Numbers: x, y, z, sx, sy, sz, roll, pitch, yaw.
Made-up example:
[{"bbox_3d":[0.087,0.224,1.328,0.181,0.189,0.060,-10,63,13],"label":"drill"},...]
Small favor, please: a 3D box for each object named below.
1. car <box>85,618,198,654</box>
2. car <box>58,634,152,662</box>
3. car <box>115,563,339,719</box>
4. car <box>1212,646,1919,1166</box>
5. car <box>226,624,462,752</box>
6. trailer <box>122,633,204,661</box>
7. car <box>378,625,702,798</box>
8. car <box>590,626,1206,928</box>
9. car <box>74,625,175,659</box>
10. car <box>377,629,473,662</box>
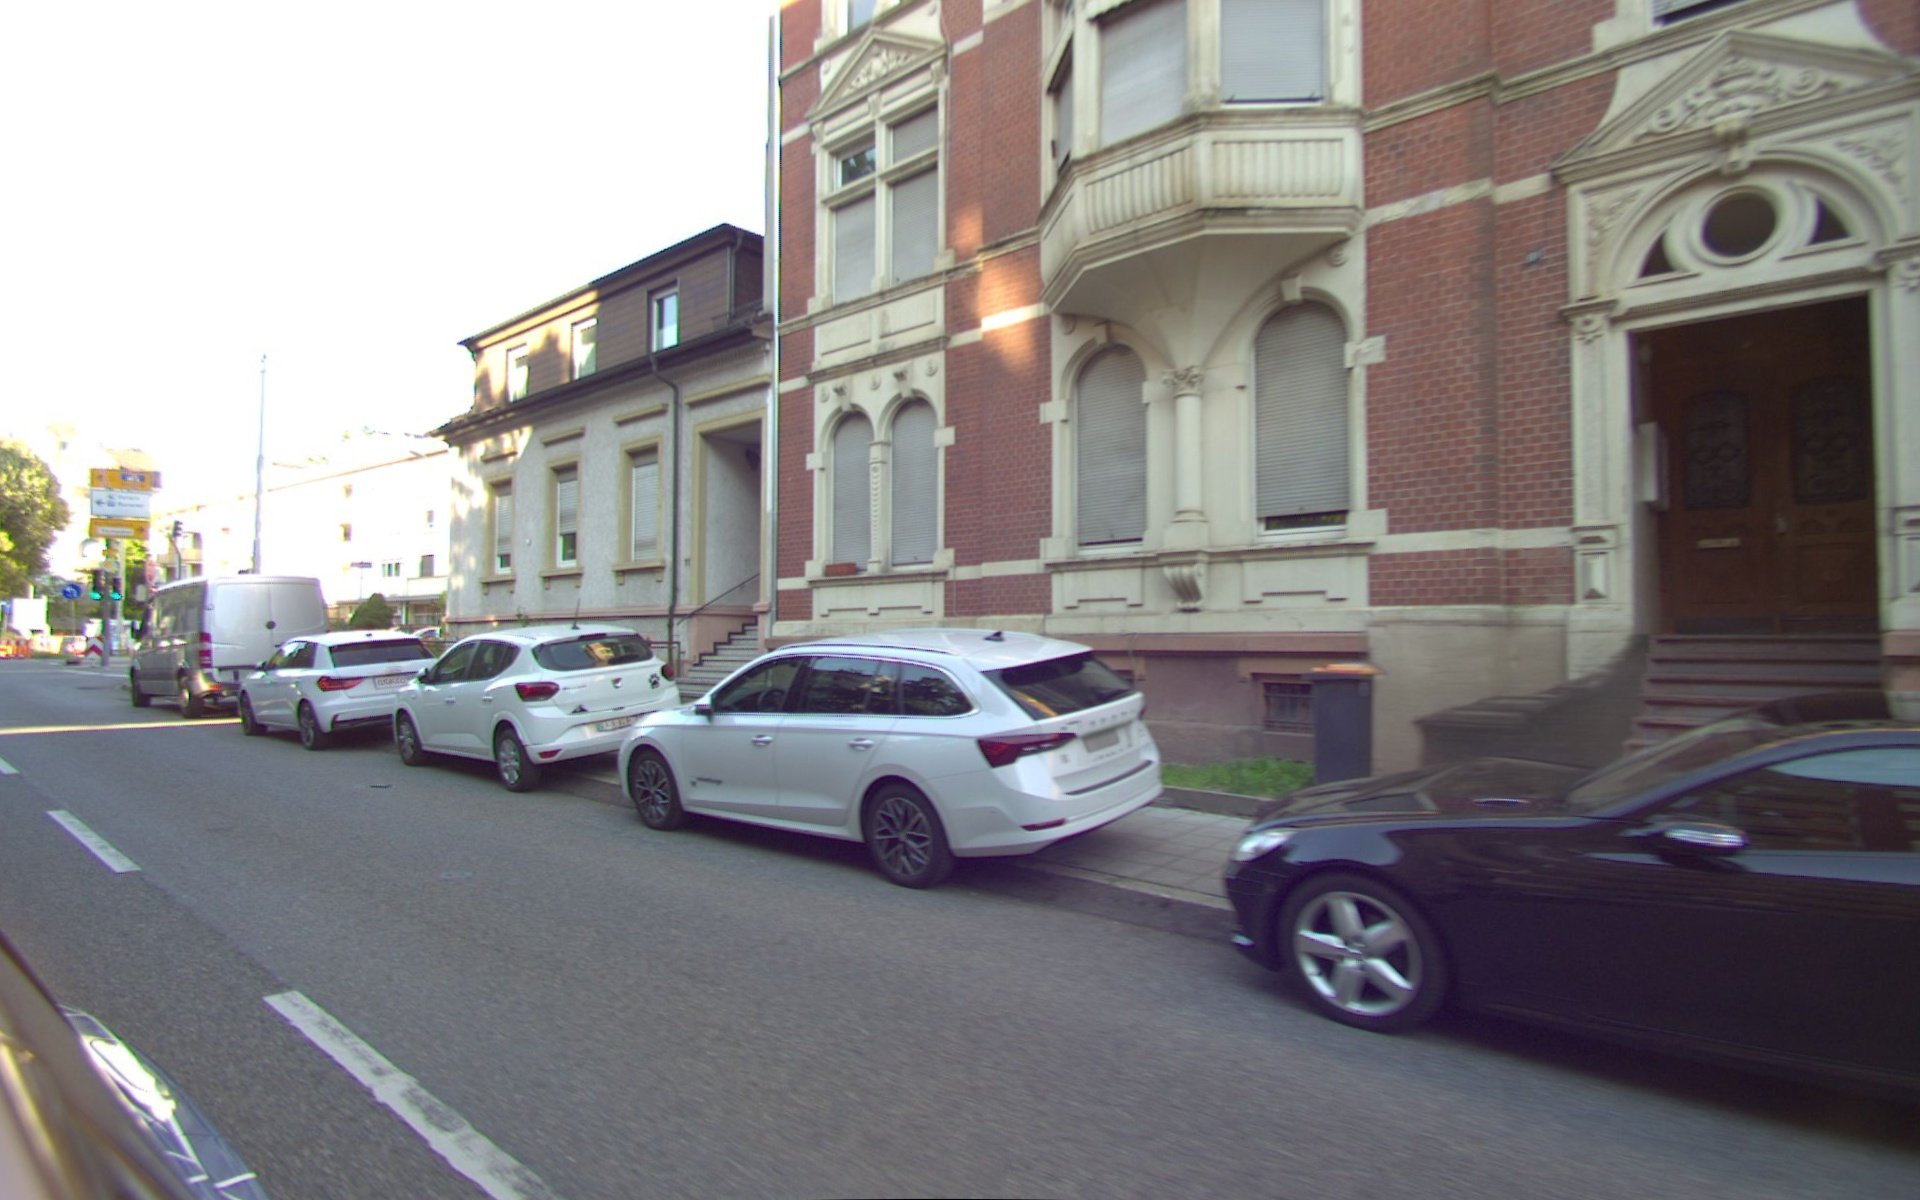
[{"bbox_3d":[-46.510,2.018,57.583,2.113,1.980,4.626,-3,-2,35],"label":"car"},{"bbox_3d":[-51.122,2.844,60.574,1.996,1.490,3.955,-3,-1,36],"label":"car"},{"bbox_3d":[-13.746,0.735,18.809,6.010,2.479,2.046,-2,-2,41],"label":"car"},{"bbox_3d":[3.051,0.883,3.564,3.859,1.377,1.684,-2,-2,42],"label":"car"},{"bbox_3d":[-8.587,1.117,13.994,3.820,1.514,1.685,-2,-2,40],"label":"car"},{"bbox_3d":[-43.647,2.558,55.454,1.571,1.407,3.225,-3,-2,35],"label":"trailer"},{"bbox_3d":[-4.655,1.052,10.930,4.019,1.514,1.684,-2,-2,42],"label":"car"},{"bbox_3d":[-0.691,0.987,7.358,4.544,1.548,1.686,-2,-2,39],"label":"car"},{"bbox_3d":[-48.819,2.441,59.202,1.998,1.866,4.269,-3,-3,40],"label":"car"},{"bbox_3d":[-28.591,2.426,54.140,4.258,1.623,2.004,0,-3,-39],"label":"car"}]
